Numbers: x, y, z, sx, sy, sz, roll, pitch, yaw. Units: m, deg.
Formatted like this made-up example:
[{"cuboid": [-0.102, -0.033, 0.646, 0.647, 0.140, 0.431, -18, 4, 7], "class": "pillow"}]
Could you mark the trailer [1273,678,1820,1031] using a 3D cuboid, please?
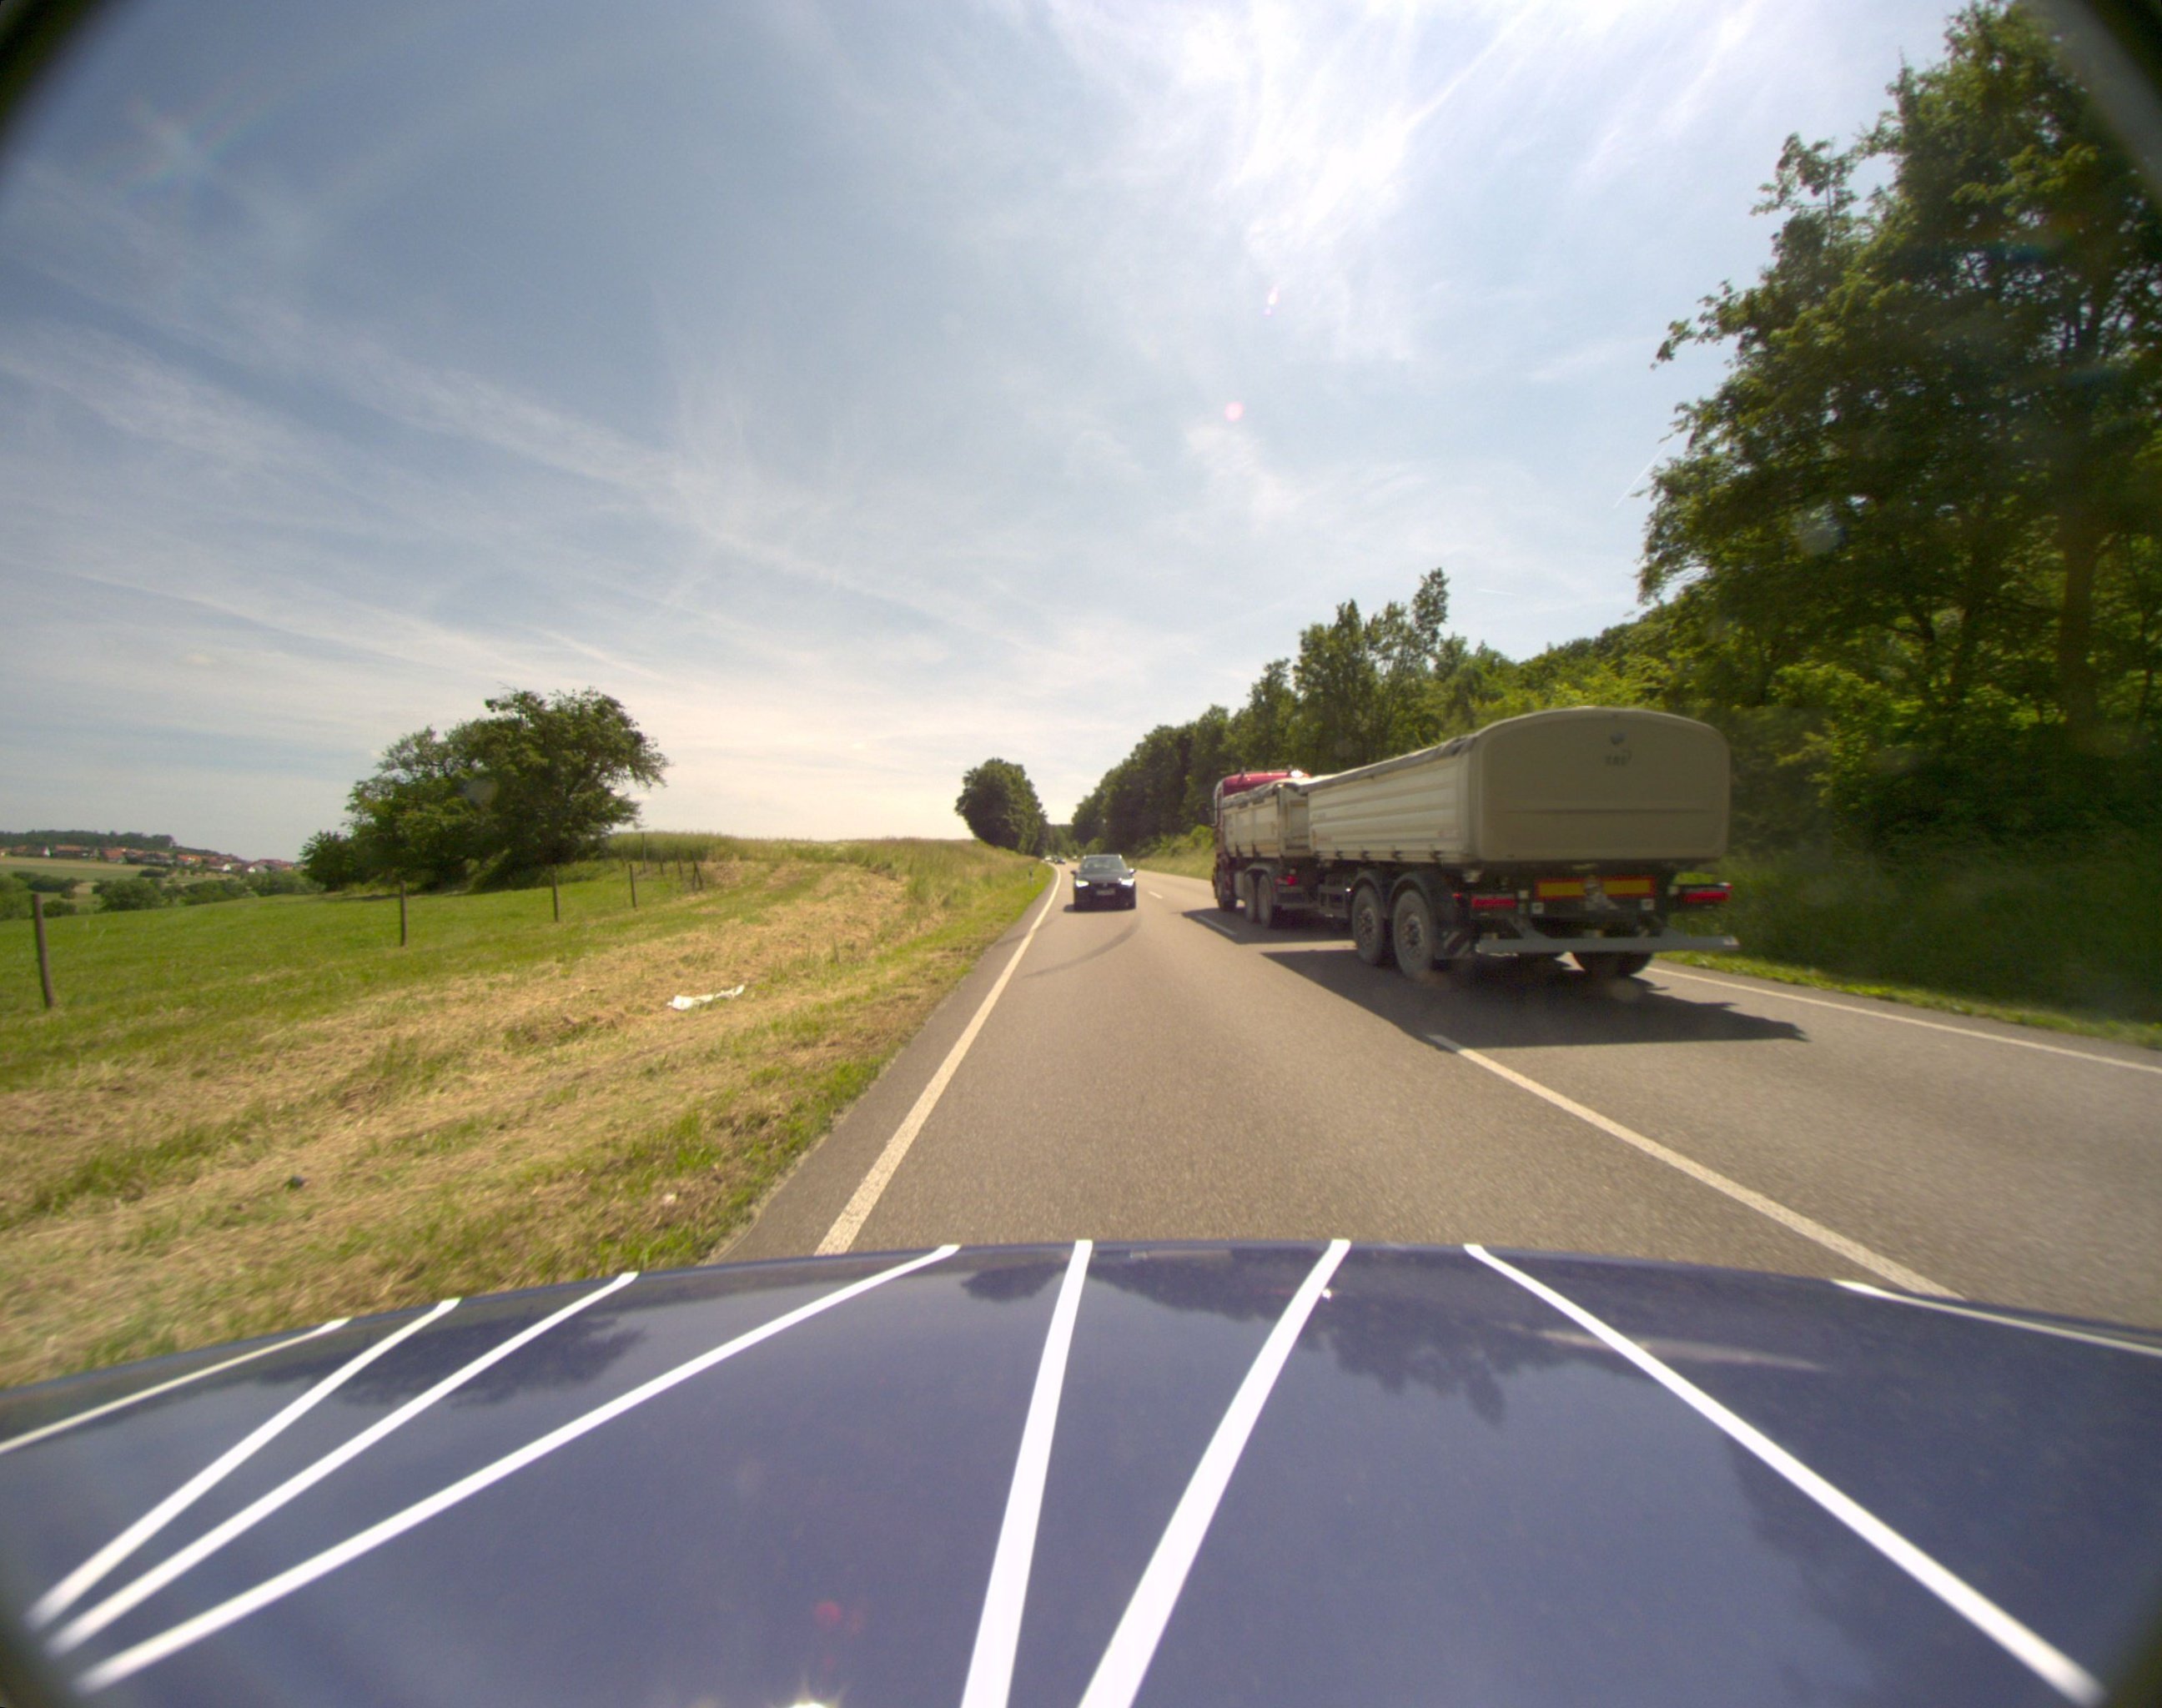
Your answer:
[{"cuboid": [4.777, -0.025, 9.841, 2.650, 2.856, 7.076, -2, 1, -1], "class": "trailer"}]

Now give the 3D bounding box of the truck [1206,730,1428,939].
[{"cuboid": [4.709, -0.362, 16.985, 2.537, 3.539, 7.760, -2, 1, 0], "class": "truck"}]

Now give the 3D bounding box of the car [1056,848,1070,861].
[{"cuboid": [-3.178, 0.090, 132.713, 1.999, 2.002, 3.998, -3, 0, -5], "class": "car"}]

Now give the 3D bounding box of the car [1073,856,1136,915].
[{"cuboid": [0.643, 0.848, 22.108, 1.662, 1.531, 3.486, -2, 0, 0], "class": "car"}]

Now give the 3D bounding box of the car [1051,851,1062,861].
[{"cuboid": [-5.405, 0.424, 167.774, 2.000, 2.002, 3.997, -3, 0, -9], "class": "car"}]
